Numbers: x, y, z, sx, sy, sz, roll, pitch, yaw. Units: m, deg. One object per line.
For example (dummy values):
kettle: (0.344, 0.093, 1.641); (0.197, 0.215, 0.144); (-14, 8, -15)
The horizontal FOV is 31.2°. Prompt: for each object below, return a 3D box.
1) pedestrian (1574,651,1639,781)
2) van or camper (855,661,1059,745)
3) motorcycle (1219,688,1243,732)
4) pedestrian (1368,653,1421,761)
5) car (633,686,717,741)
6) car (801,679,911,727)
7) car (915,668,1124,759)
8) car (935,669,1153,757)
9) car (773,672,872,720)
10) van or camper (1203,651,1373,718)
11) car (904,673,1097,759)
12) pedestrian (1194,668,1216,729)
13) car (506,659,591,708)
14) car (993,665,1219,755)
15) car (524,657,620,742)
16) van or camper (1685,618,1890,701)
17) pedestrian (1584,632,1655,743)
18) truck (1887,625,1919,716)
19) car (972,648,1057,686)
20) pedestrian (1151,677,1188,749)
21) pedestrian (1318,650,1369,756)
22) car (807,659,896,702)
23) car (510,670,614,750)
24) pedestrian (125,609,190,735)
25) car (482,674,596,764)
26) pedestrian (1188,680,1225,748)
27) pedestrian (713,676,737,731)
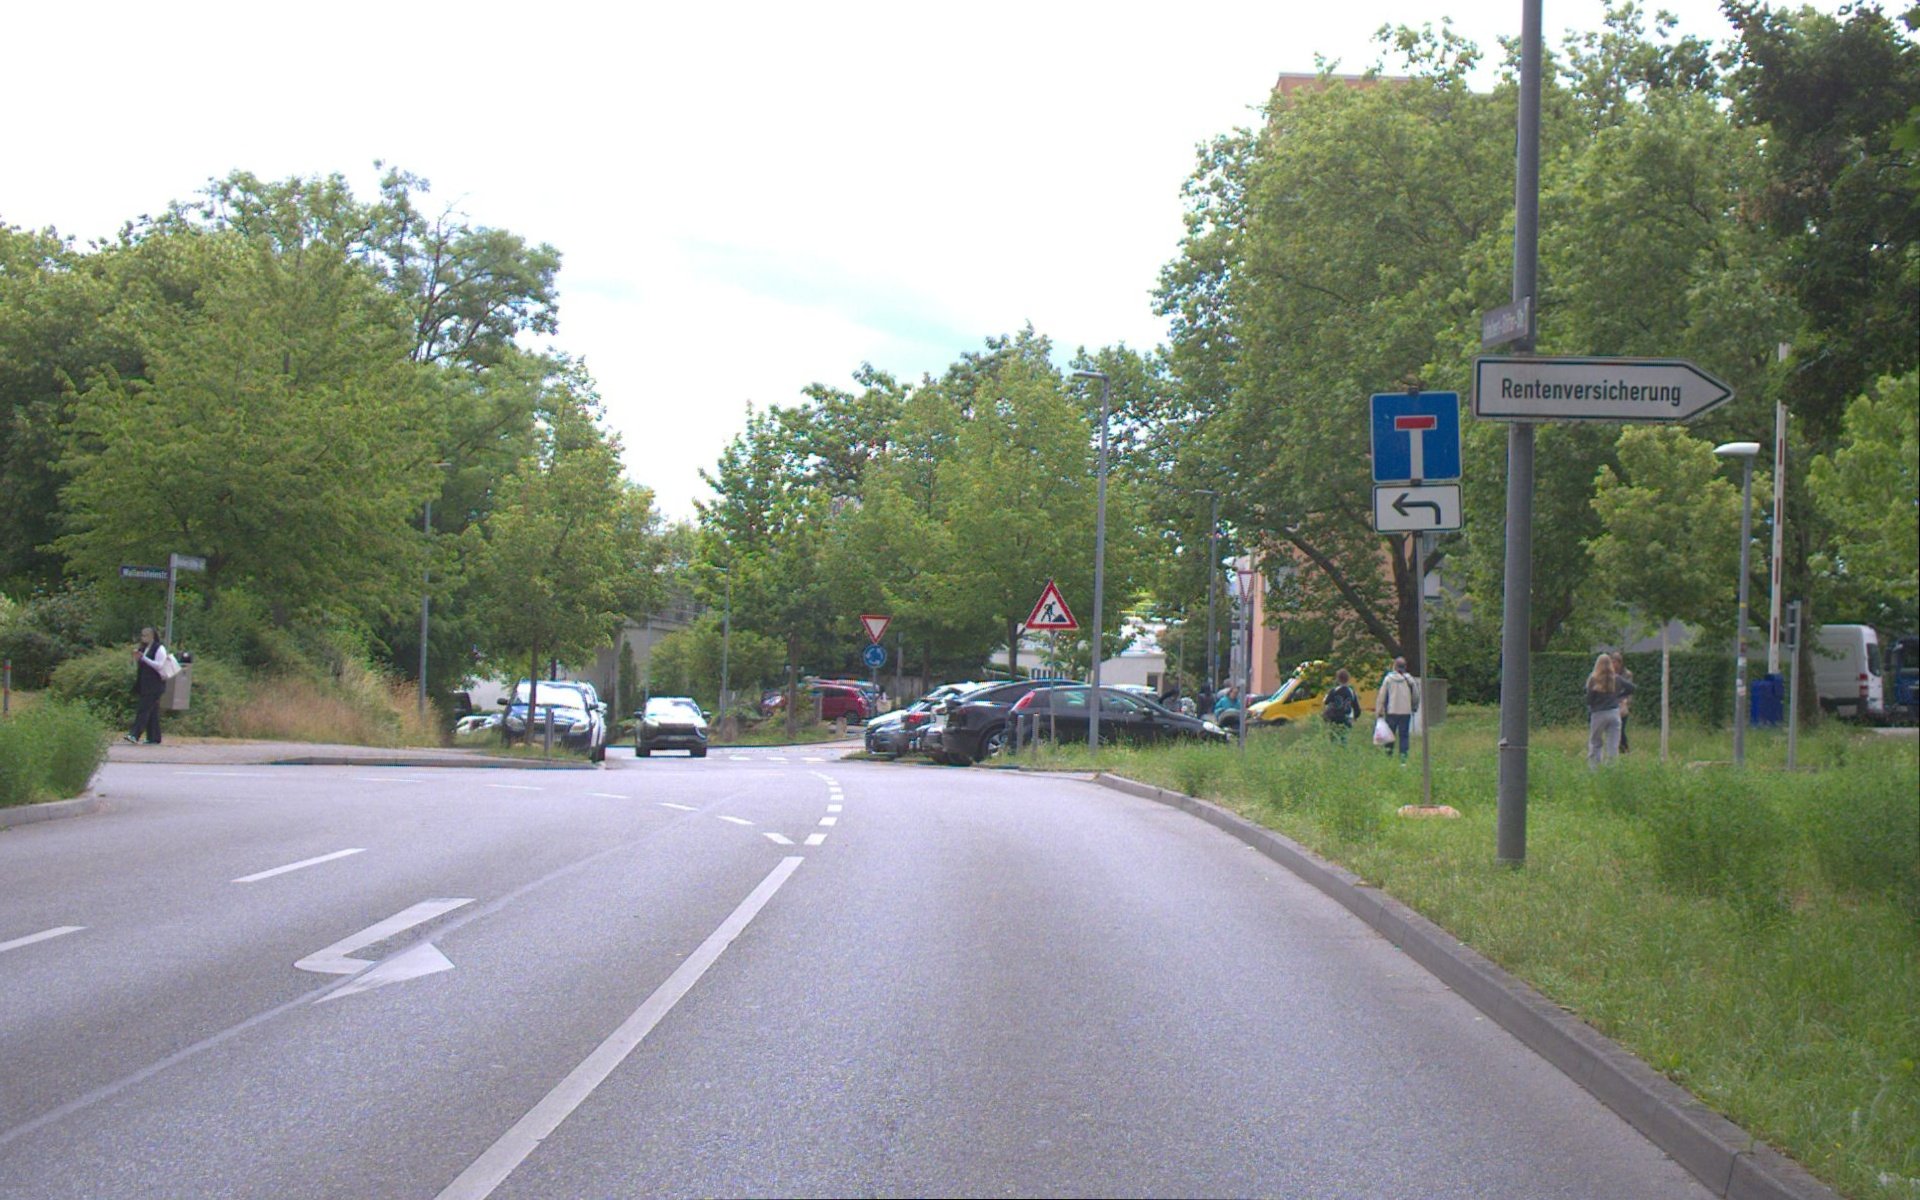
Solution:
pedestrian: (8.159, 1.453, 43.393); (0.775, 1.591, 0.823); (1, 1, 10)
van or camper: (-0.092, 2.467, 82.450); (4.671, 1.863, 1.772); (1, 1, -7)
motorcycle: (5.238, 2.117, 66.381); (0.453, 0.791, 1.263); (1, 1, 5)
pedestrian: (7.140, 1.757, 56.530); (0.801, 1.717, 0.823); (2, 1, 6)
car: (-7.968, 3.154, 95.835); (1.974, 1.459, 3.935); (1, -1, -10)
car: (-3.694, 3.646, 121.990); (3.539, 1.558, 1.622); (3, -1, -19)
car: (1.134, 2.189, 65.837); (3.922, 1.625, 1.771); (1, -4, 1)
car: (1.523, 2.083, 63.107); (3.922, 1.495, 1.771); (1, -4, 1)
car: (-5.155, 3.605, 128.885); (3.539, 1.648, 1.621); (2, -1, -7)
van or camper: (10.800, 2.770, 113.328); (5.292, 2.035, 2.061); (1, 1, -4)
car: (0.834, 2.384, 70.927); (3.922, 1.625, 1.771); (1, 1, 1)
pedestrian: (4.741, 1.914, 66.611); (0.396, 1.148, 0.485); (2, 1, 4)
car: (-12.148, 2.453, 101.417); (1.199, 1.333, 2.605); (3, -2, -40)
car: (2.557, 1.956, 60.863); (3.922, 1.463, 1.771); (1, -4, 1)
car: (-8.275, 2.111, 73.597); (1.765, 1.747, 3.935); (1, -1, -3)
van or camper: (20.746, 1.460, 86.243); (4.680, 1.908, 1.768); (1, 1, 30)
pedestrian: (10.286, 1.352, 53.620); (0.776, 1.689, 0.821); (2, 1, 33)
truck: (26.019, 1.856, 91.153); (2.328, 2.288, 5.889); (2, 0, 19)
car: (2.519, 3.088, 158.601); (3.539, 1.648, 1.622); (2, -1, -19)
pedestrian: (4.479, 2.419, 73.498); (0.690, 1.499, 0.753); (2, -1, 0)
pedestrian: (6.451, 1.722, 57.820); (0.774, 1.717, 0.823); (2, 1, 8)
car: (-4.530, 3.357, 143.869); (3.540, 1.648, 1.621); (2, -1, 3)
car: (-7.828, 2.152, 67.892); (1.765, 1.495, 3.935); (1, -1, -3)
pedestrian: (-11.241, 1.001, 48.167); (0.820, 1.717, 0.777); (2, 1, -11)
car: (-7.654, 2.155, 62.788); (1.765, 1.495, 3.935); (1, 0, -3)
pedestrian: (5.277, 2.427, 73.531); (0.690, 1.420, 0.753); (2, -1, 0)
pedestrian: (-8.093, 3.557, 118.374); (0.721, 1.858, 0.651); (1, 1, -11)
